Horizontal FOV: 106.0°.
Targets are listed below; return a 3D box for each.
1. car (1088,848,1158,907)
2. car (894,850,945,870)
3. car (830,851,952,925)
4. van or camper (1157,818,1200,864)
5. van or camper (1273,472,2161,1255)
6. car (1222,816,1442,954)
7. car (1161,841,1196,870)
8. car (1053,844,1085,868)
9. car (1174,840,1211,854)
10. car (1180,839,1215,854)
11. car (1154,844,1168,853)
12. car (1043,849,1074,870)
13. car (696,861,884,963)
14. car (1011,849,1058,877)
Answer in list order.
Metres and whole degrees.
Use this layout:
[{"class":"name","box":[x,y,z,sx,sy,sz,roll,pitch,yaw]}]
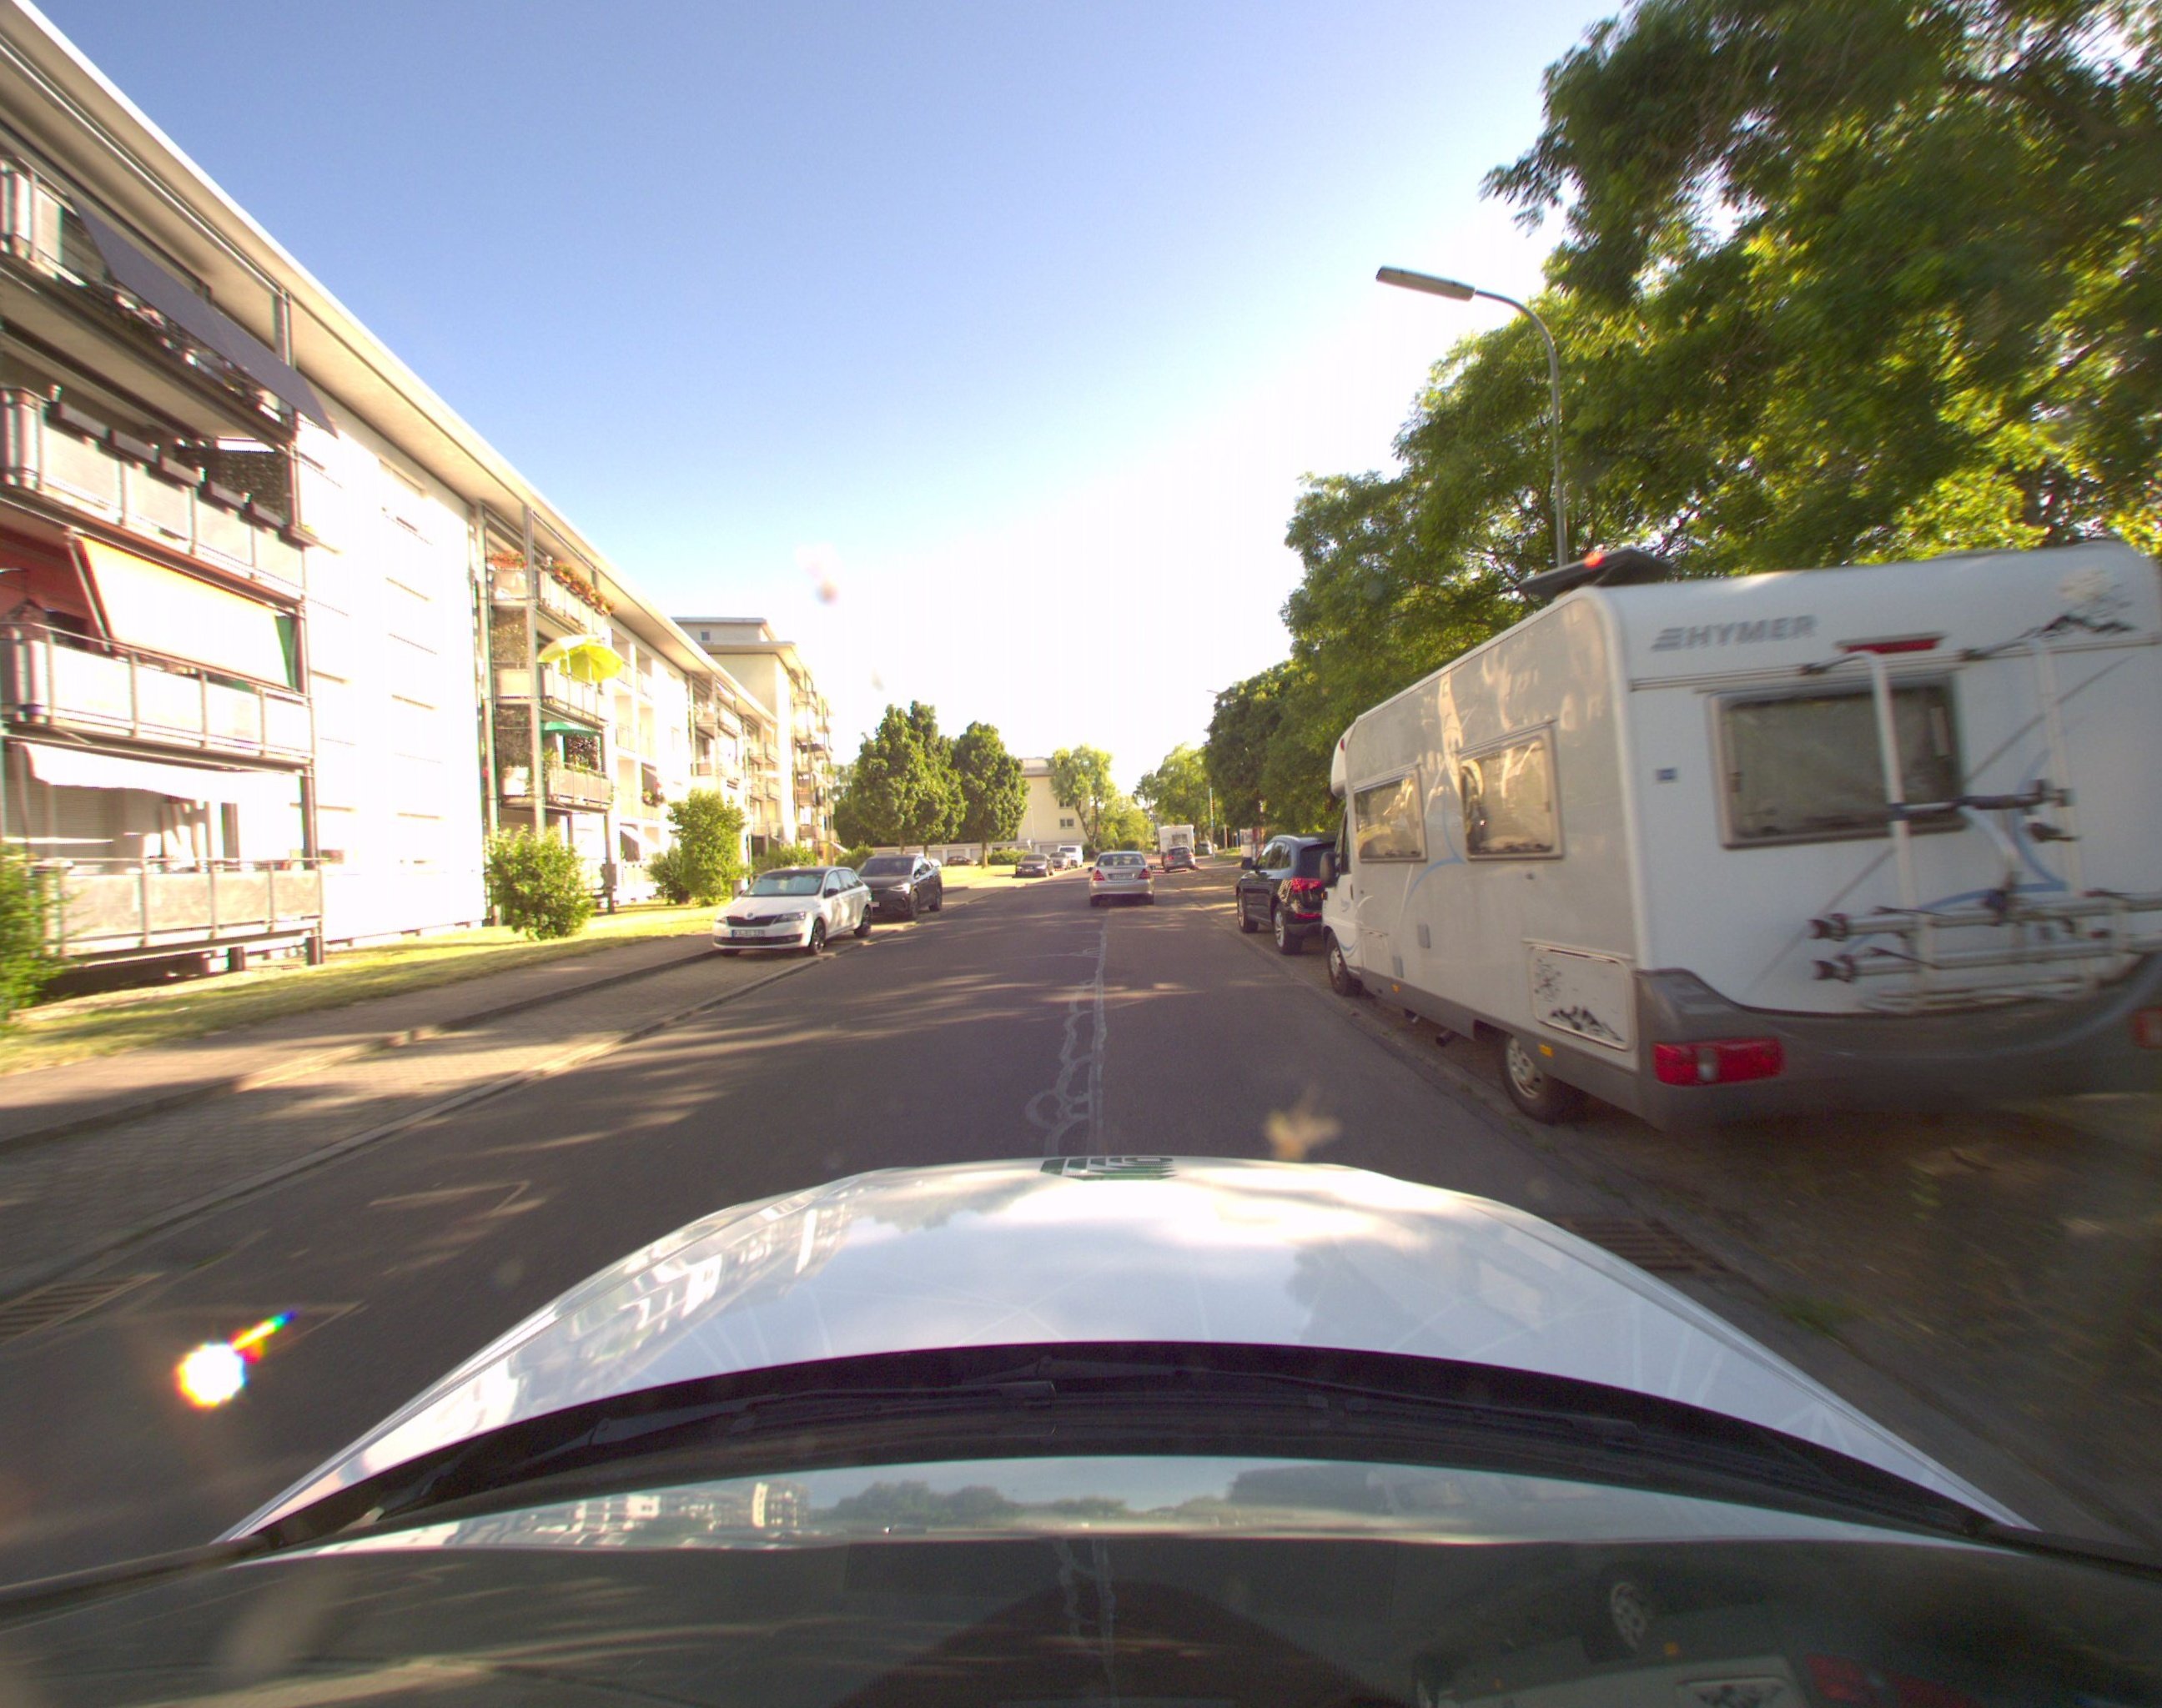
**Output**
[{"class":"car","box":[1.118,0.594,22.218,1.726,1.434,3.439,-2,0,2]},{"class":"car","box":[-18.490,0.643,93.320,5.070,1.951,2.245,-3,0,12]},{"class":"car","box":[-4.828,0.792,21.499,1.907,1.603,4.813,-3,0,1]},{"class":"van or camper","box":[6.636,-0.871,56.149,2.485,2.845,6.860,-4,1,4]},{"class":"van or camper","box":[3.388,-0.022,6.094,2.343,2.596,6.429,-6,0,2]},{"class":"car","box":[3.668,0.385,12.889,1.987,1.640,4.536,-5,1,0]},{"class":"car","box":[5.835,0.063,49.075,1.713,1.524,4.433,-6,0,4]},{"class":"car","box":[-0.979,0.142,69.522,2.004,1.885,5.200,-1,0,6]},{"class":"car","box":[15.147,-0.943,110.694,4.756,1.549,2.016,-3,0,7]},{"class":"car","box":[17.180,-1.093,120.615,4.864,1.924,2.002,-4,0,3]},{"class":"car","box":[15.125,-1.050,153.868,1.900,1.490,3.851,-5,0,13]},{"class":"car","box":[-1.692,0.422,63.054,1.824,1.518,4.229,-1,0,6]},{"class":"car","box":[-5.105,0.931,14.966,1.640,1.466,4.334,-2,1,3]},{"class":"car","box":[-2.794,0.534,50.017,2.025,1.492,5.264,-3,0,5]}]
